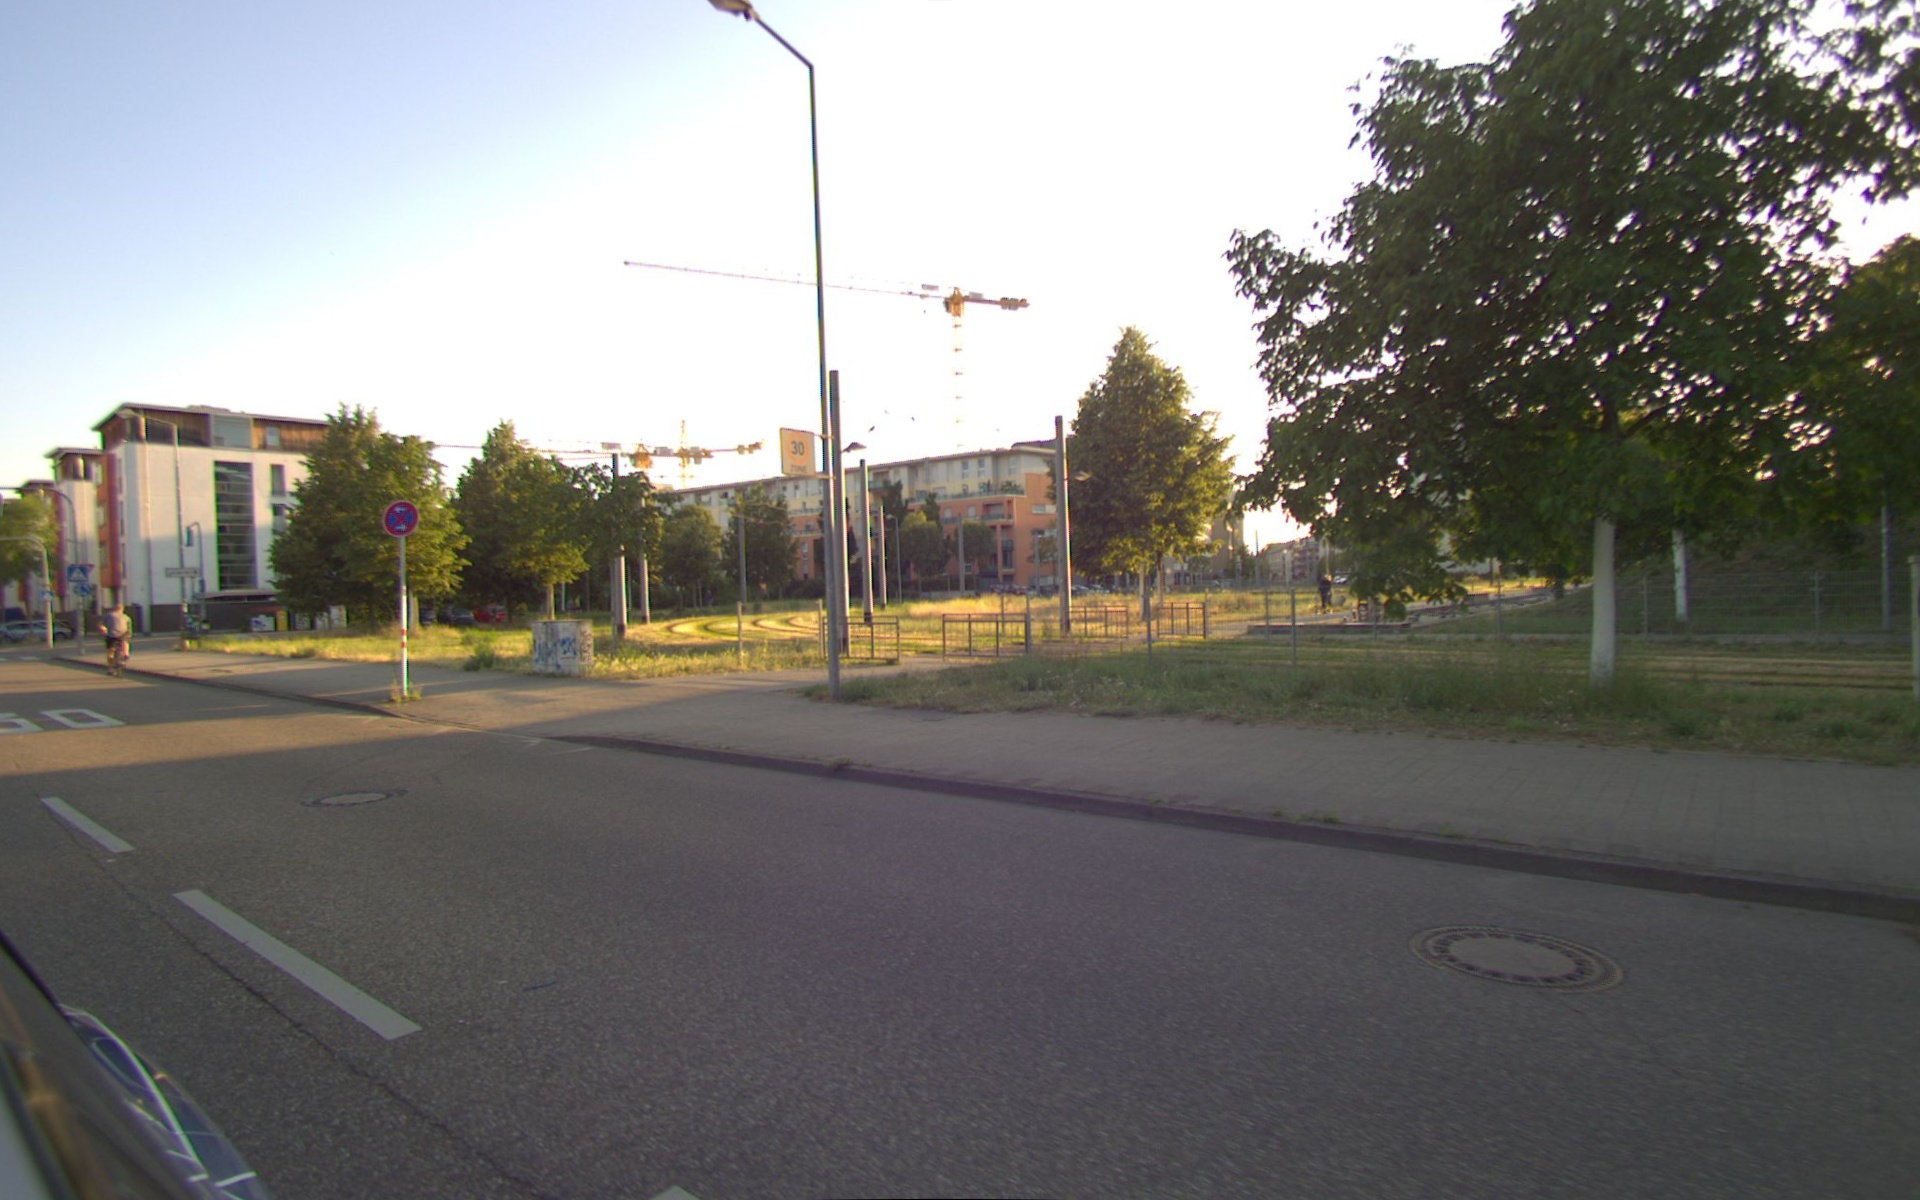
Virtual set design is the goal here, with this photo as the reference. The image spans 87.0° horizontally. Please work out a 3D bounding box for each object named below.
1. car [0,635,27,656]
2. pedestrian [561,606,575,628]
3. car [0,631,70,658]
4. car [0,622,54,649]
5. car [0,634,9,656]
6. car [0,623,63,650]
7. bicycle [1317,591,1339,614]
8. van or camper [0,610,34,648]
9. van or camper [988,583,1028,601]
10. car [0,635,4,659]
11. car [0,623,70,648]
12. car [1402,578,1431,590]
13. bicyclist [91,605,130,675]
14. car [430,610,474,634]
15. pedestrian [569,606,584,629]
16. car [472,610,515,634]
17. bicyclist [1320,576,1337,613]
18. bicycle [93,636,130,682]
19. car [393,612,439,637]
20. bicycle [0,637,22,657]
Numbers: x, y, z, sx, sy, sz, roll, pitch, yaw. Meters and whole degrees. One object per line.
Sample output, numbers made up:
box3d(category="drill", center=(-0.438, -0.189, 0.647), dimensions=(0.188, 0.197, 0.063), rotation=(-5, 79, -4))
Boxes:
box3d(category="car", center=(-72.573, 3.496, 75.664), dimensions=(1.721, 1.526, 3.872), rotation=(-3, 1, 37))
box3d(category="pedestrian", center=(-29.717, 1.309, 76.769), dimensions=(0.651, 1.611, 0.709), rotation=(-2, 2, 16))
box3d(category="car", center=(-61.352, 2.951, 65.902), dimensions=(1.709, 1.489, 4.854), rotation=(-3, 2, 40))
box3d(category="car", center=(-65.645, 2.507, 69.543), dimensions=(1.756, 1.596, 4.703), rotation=(-3, 2, 38))
box3d(category="car", center=(-75.009, 3.527, 76.637), dimensions=(1.721, 1.637, 4.053), rotation=(-3, 1, 37))
box3d(category="car", center=(-63.090, 2.503, 67.483), dimensions=(4.719, 1.566, 1.712), rotation=(-5, 2, -45))
box3d(category="bicycle", center=(15.297, 0.110, 42.039), dimensions=(0.431, 0.907, 1.219), rotation=(-3, 0, 41))
box3d(category="van or camper", center=(-82.156, 2.552, 84.814), dimensions=(2.438, 3.110, 6.239), rotation=(-3, 1, 37))
box3d(category="van or camper", center=(5.035, -0.850, 106.867), dimensions=(3.880, 1.707, 1.809), rotation=(-3, 0, 43))
box3d(category="car", center=(-71.836, 3.553, 72.998), dimensions=(1.721, 1.723, 3.872), rotation=(-3, 1, 37))
box3d(category="car", center=(-59.383, 2.270, 64.126), dimensions=(1.679, 1.468, 4.237), rotation=(-3, 0, 40))
box3d(category="car", center=(73.100, -2.531, 162.123), dimensions=(3.879, 1.625, 1.679), rotation=(-3, 0, 42))
box3d(category="bicyclist", center=(-21.002, 0.982, 25.025), dimensions=(0.607, 1.675, 1.037), rotation=(-2, -1, -45))
box3d(category="car", center=(-34.116, 1.480, 67.970), dimensions=(3.412, 1.511, 1.572), rotation=(-1, 1, 44))
box3d(category="pedestrian", center=(-29.046, 1.357, 76.605), dimensions=(0.619, 1.679, 0.739), rotation=(-2, 2, 19))
box3d(category="car", center=(-32.065, 1.510, 69.528), dimensions=(3.412, 1.511, 1.572), rotation=(-1, 1, 44))
box3d(category="bicyclist", center=(15.319, -0.230, 42.088), dimensions=(0.424, 1.506, 0.507), rotation=(-3, -1, 42))
box3d(category="bicycle", center=(-20.952, 1.451, 24.982), dimensions=(0.532, 1.051, 1.926), rotation=(-2, -1, -44))
box3d(category="car", center=(-35.735, 1.592, 66.430), dimensions=(3.412, 1.533, 1.667), rotation=(-1, 1, 44))
box3d(category="bicycle", center=(-58.222, 2.886, 61.429), dimensions=(0.566, 1.074, 1.799), rotation=(-3, 3, 39))
